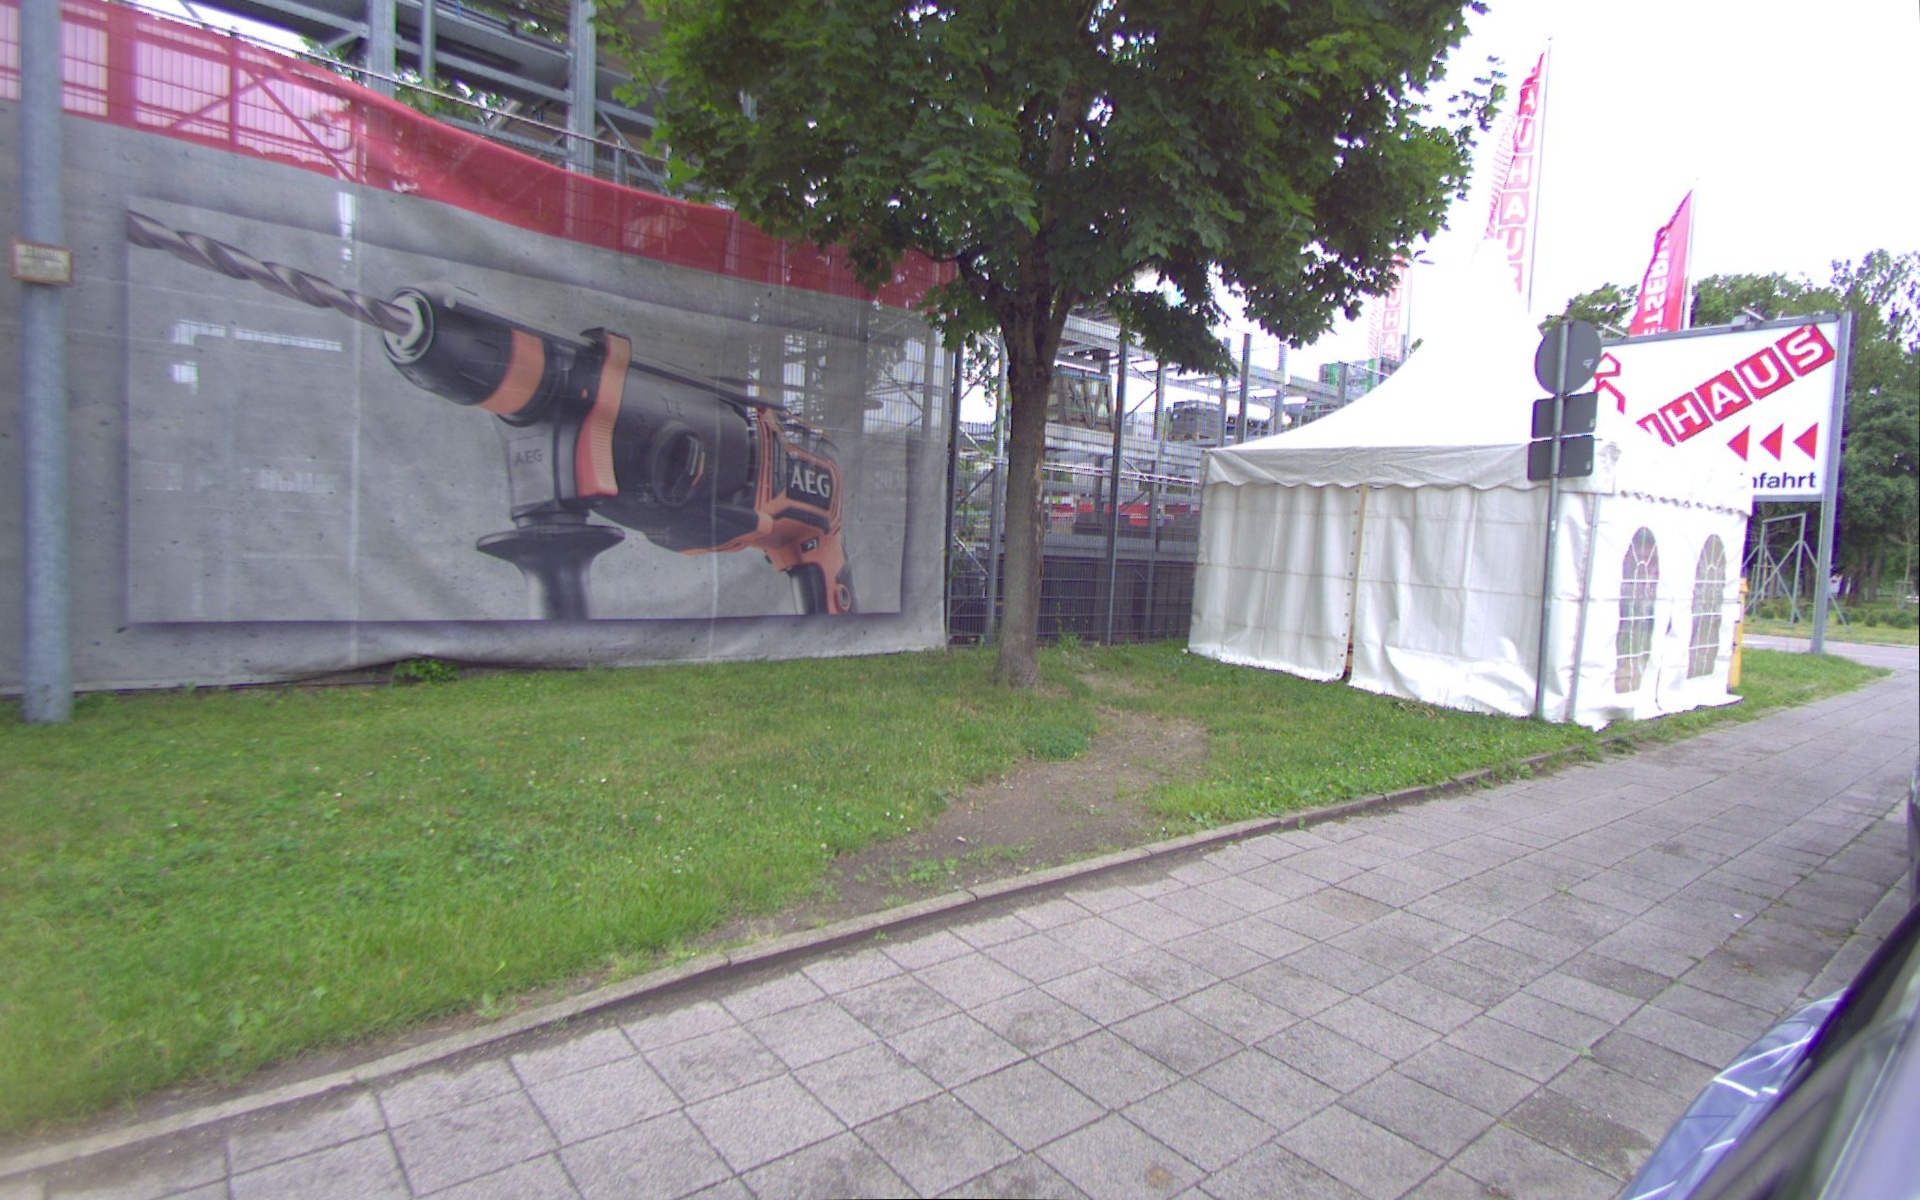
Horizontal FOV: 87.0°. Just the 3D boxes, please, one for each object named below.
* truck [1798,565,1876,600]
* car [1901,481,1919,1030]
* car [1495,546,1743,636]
[{"bbox_3d":[66.319,-1.354,76.591,3.925,2.425,2.001,3,3,1],"label":"truck"},{"bbox_3d":[5.362,0.511,3.913,4.399,1.762,1.913,0,1,-39],"label":"car"},{"bbox_3d":[15.539,-0.283,24.095,1.904,1.703,4.495,0,5,-38],"label":"car"}]
